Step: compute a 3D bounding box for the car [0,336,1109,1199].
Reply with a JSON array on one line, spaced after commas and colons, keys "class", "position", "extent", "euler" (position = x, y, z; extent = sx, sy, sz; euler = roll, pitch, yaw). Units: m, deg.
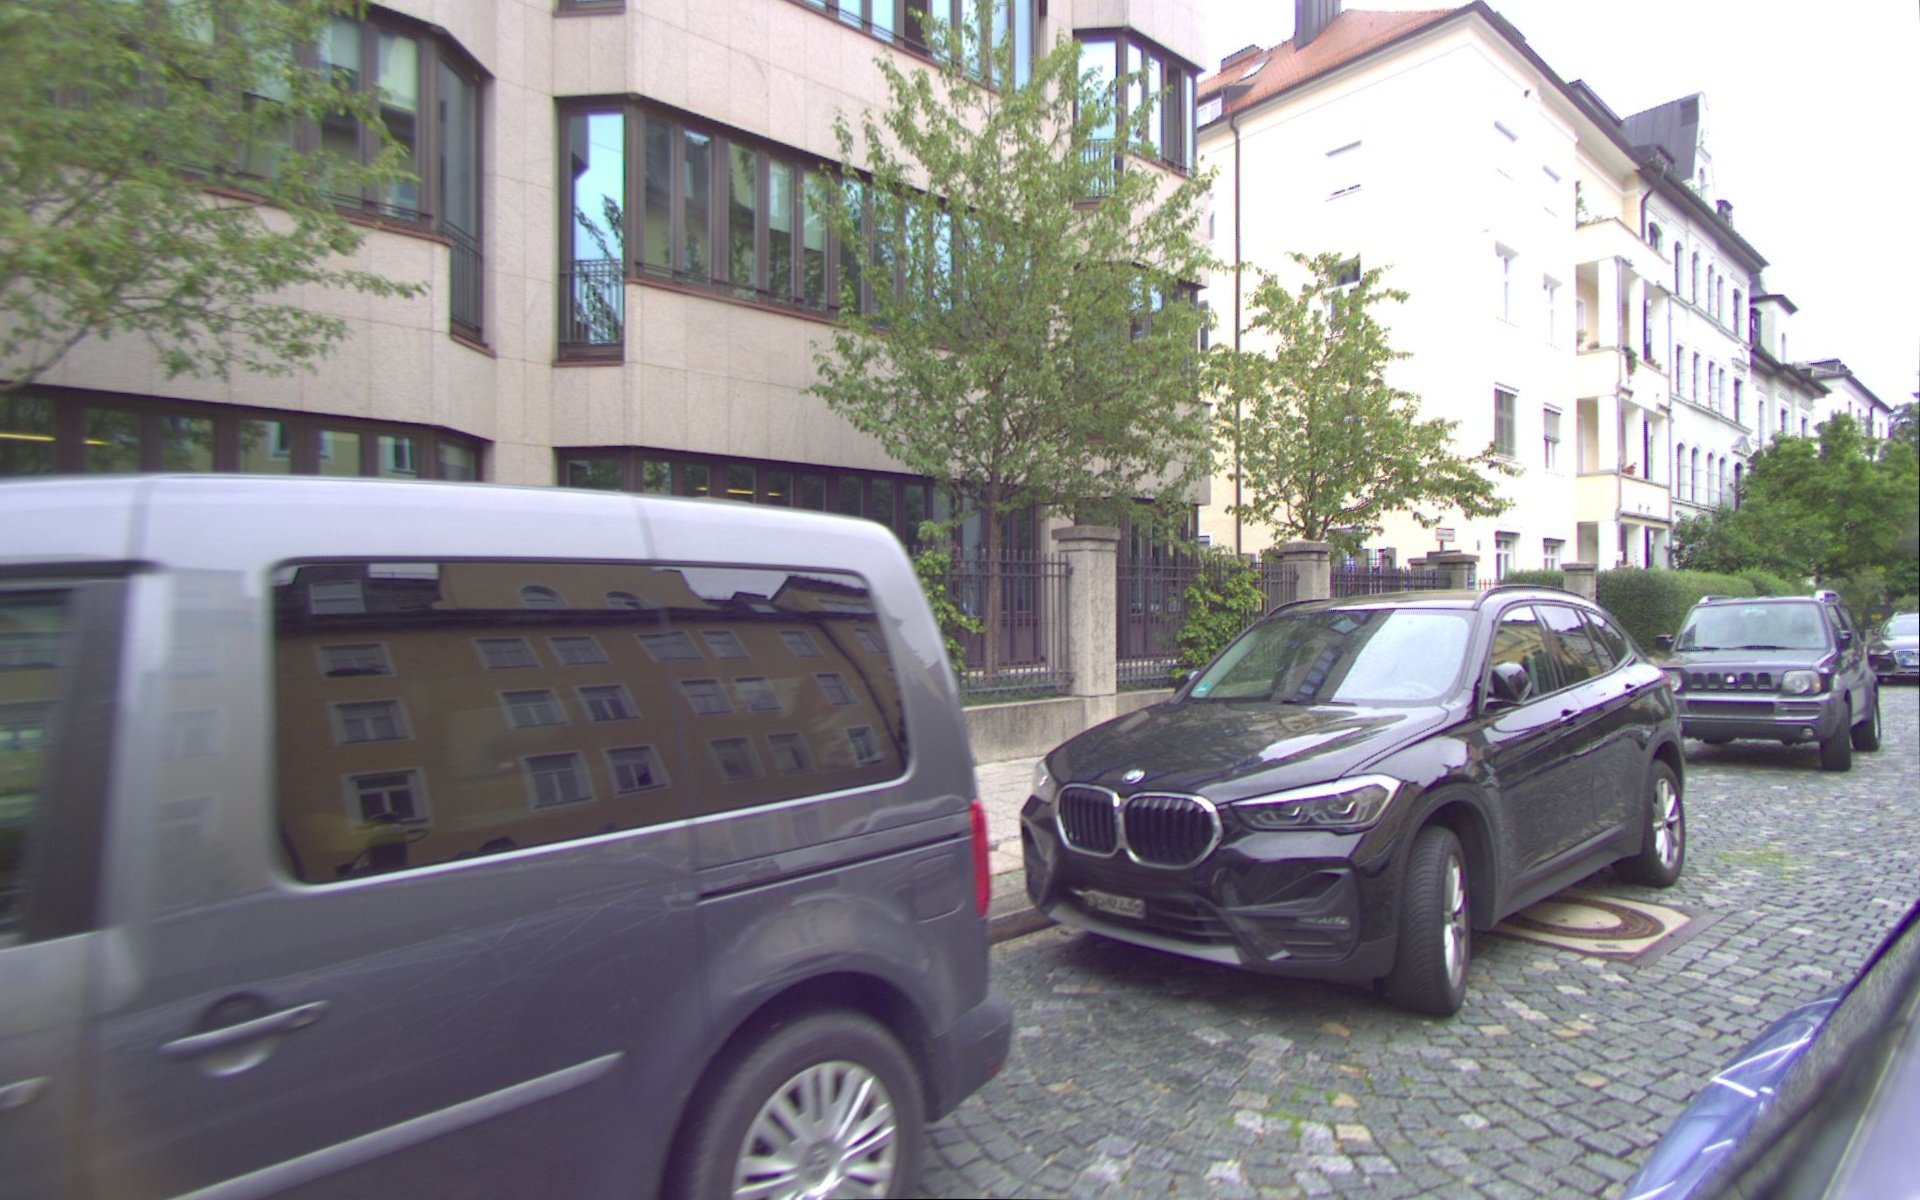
[{"class": "car", "position": [-1.883, 0.622, 1.888], "extent": [4.432, 1.820, 1.790], "euler": [0, -4, -42]}]

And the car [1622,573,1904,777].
[{"class": "car", "position": [8.581, 0.694, 10.710], "extent": [3.820, 1.774, 1.620], "euler": [0, -3, -42]}]

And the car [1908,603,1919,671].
[{"class": "car", "position": [24.583, 0.838, 24.309], "extent": [4.897, 1.572, 1.997], "euler": [0, -2, -40]}]

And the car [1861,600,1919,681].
[{"class": "car", "position": [20.590, 0.780, 21.096], "extent": [4.926, 1.572, 1.996], "euler": [0, -3, -41]}]

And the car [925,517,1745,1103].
[{"class": "car", "position": [2.264, 0.661, 5.258], "extent": [4.728, 1.724, 1.863], "euler": [0, -3, -41]}]

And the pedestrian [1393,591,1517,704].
[{"class": "pedestrian", "position": [7.180, 0.642, 14.692], "extent": [1.109, 1.511, 1.220], "euler": [0, 2, -38]}]
